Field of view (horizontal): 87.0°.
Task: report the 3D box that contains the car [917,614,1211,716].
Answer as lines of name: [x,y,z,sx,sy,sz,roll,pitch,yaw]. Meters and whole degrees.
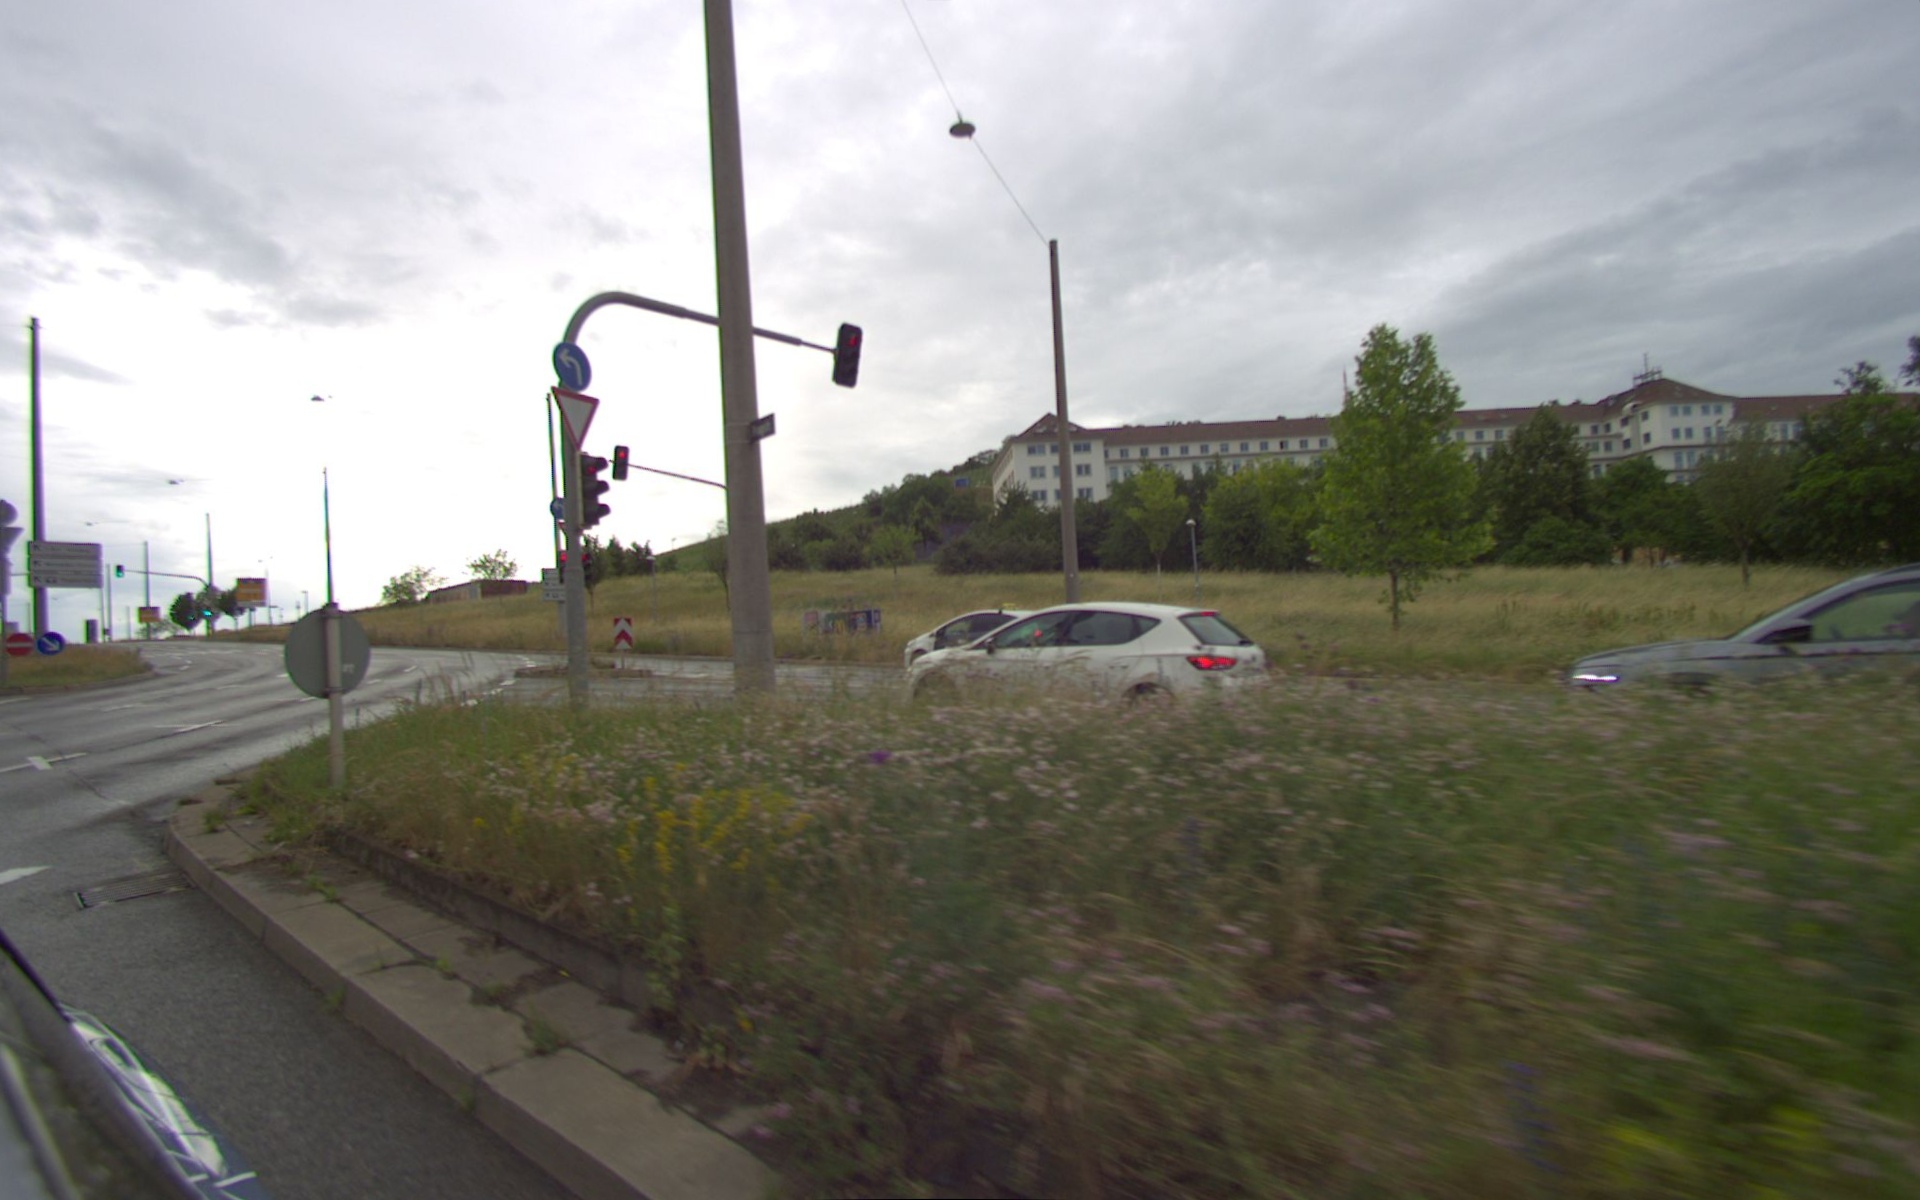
car: [1.468,0.928,15.021,4.012,1.317,1.786,-3,-3,37]

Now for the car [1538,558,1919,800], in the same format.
car: [6.739,0.486,7.089,4.430,1.524,1.975,-3,-1,37]

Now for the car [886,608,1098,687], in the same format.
car: [0.666,1.099,23.864,4.795,1.657,1.973,-3,-1,41]

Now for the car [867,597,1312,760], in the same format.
car: [1.292,0.771,11.081,4.430,1.433,1.943,-3,-1,37]
